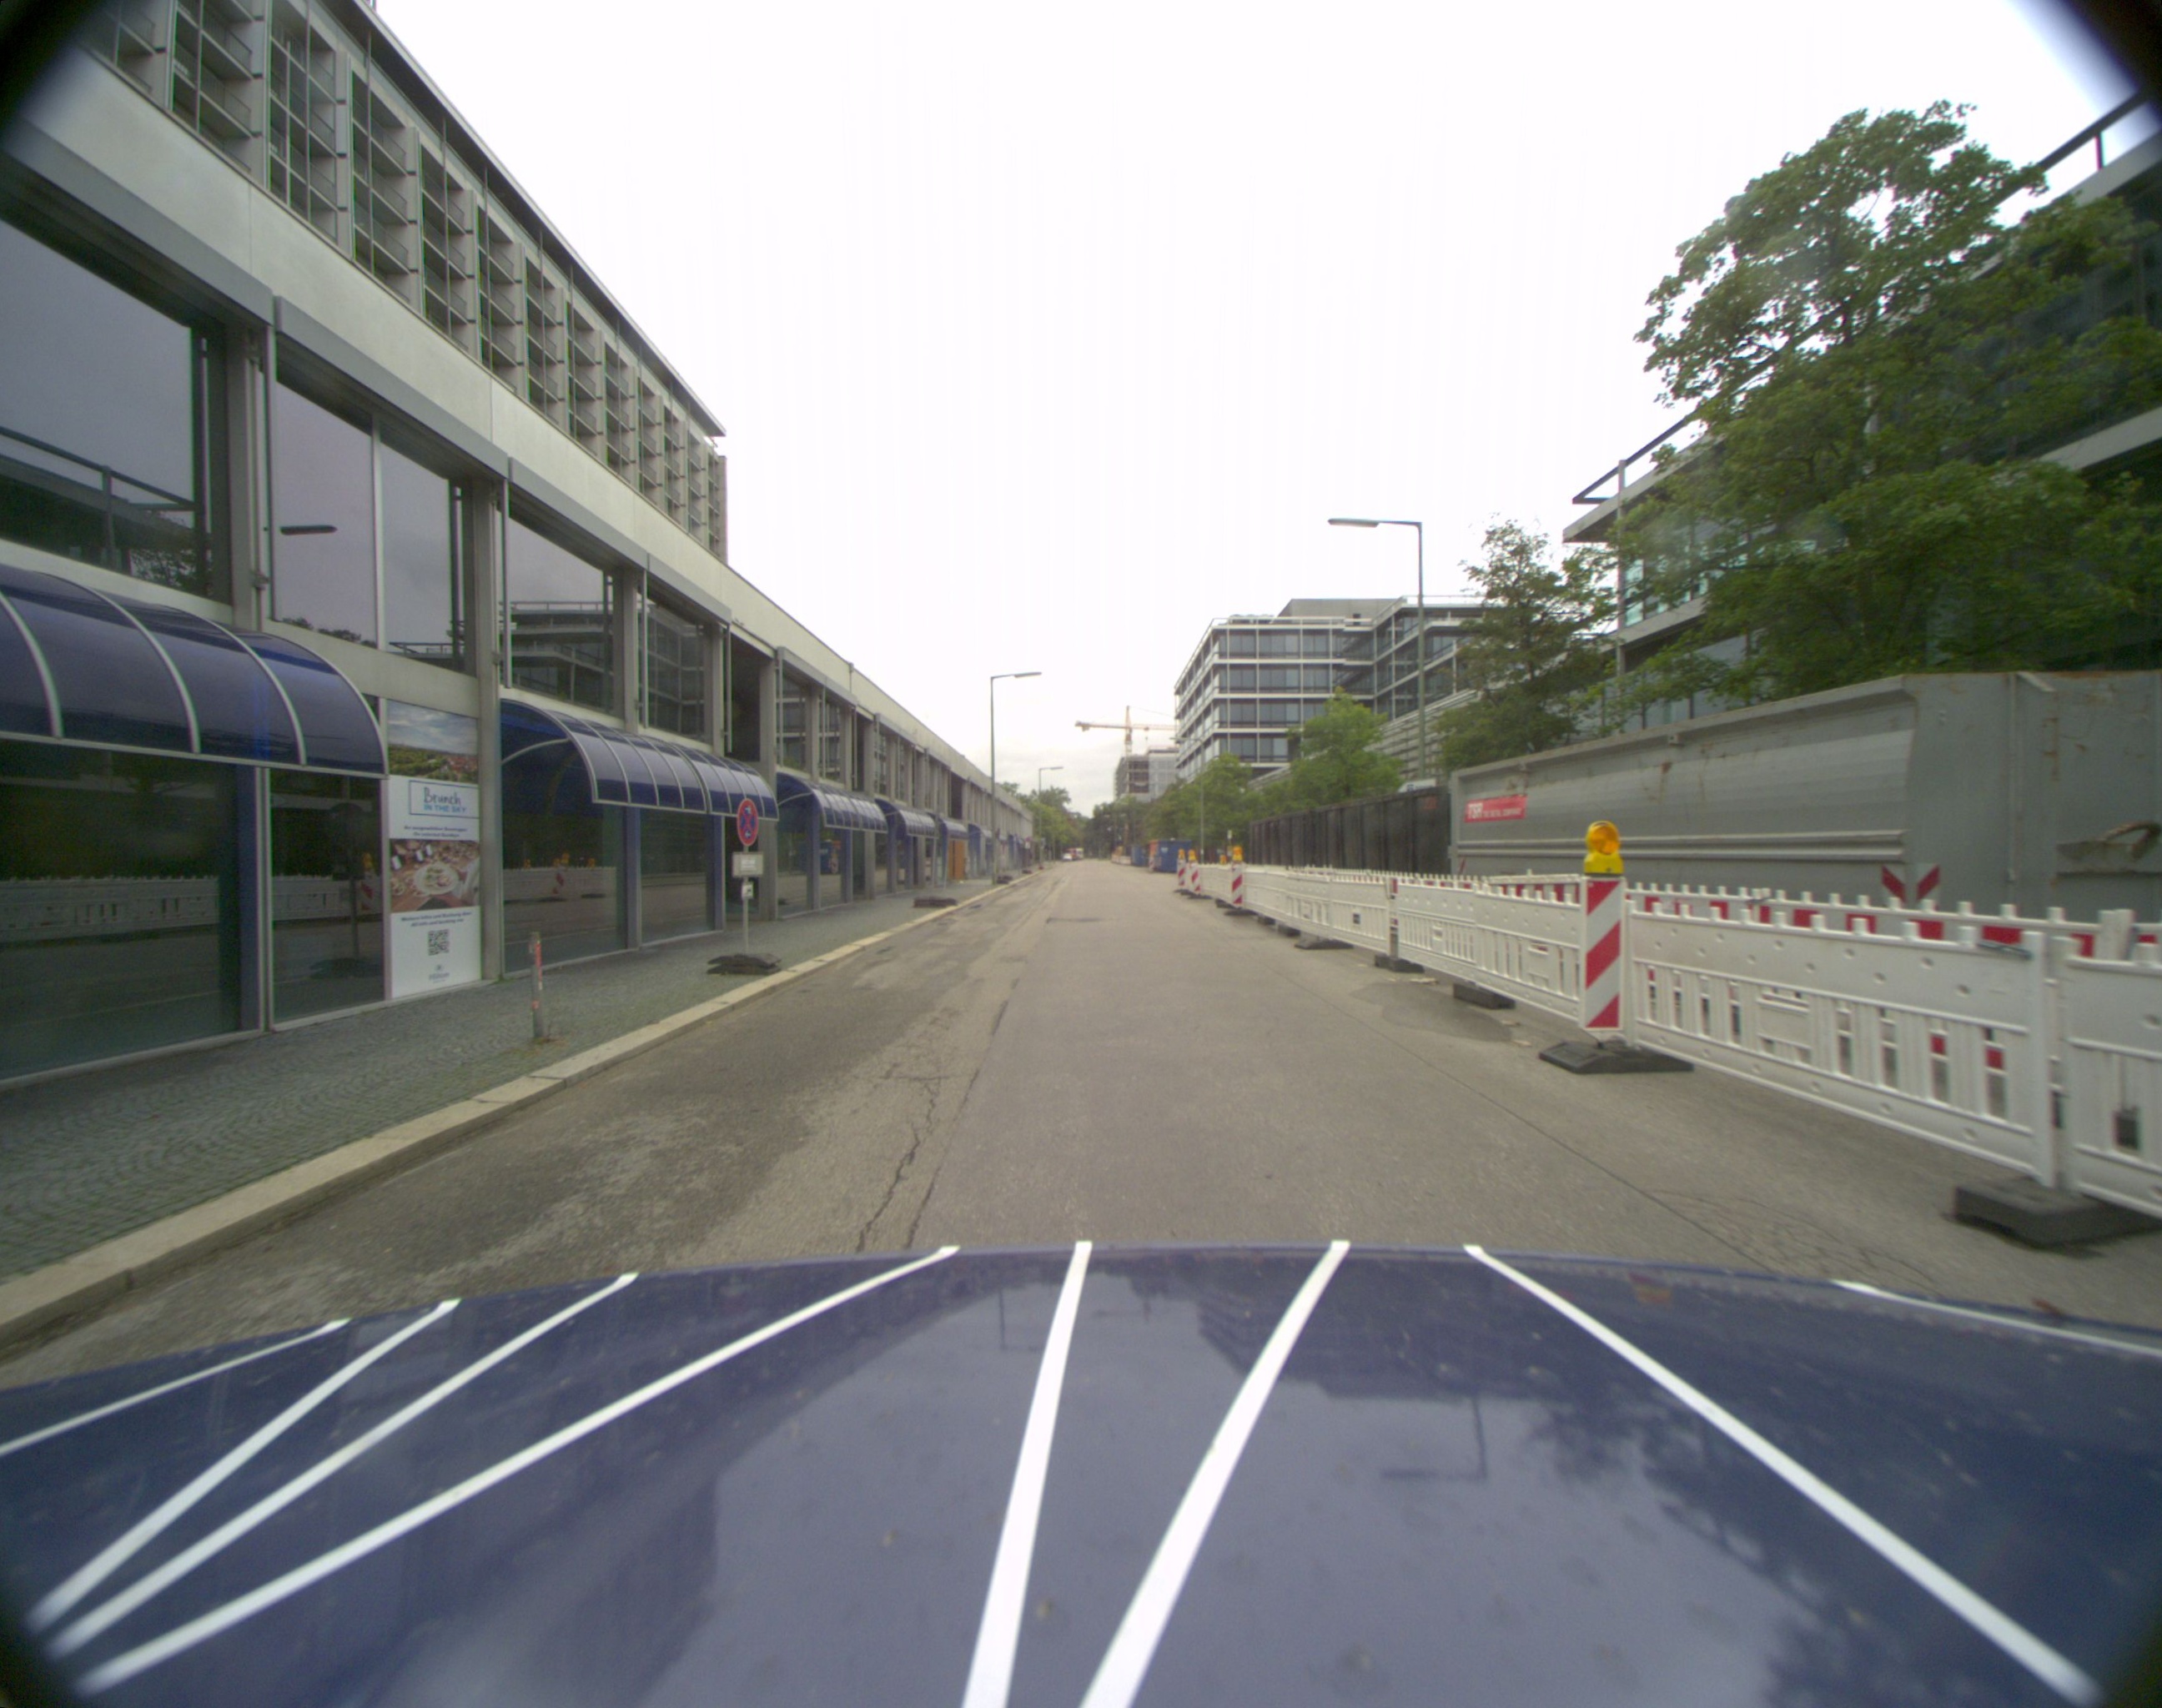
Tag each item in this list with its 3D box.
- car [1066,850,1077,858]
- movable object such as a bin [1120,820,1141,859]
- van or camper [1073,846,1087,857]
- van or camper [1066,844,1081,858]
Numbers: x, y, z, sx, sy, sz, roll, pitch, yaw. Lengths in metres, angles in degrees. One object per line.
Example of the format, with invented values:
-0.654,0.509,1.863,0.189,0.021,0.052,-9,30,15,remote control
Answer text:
-1.927,0.022,151.442,1.912,1.627,4.000,0,0,2,car
8.150,-2.375,125.385,3.241,6.286,8.337,0,1,3,movable object such as a bin
-0.195,-0.585,172.006,2.665,2.436,6.447,0,0,6,van or camper
-1.497,-0.593,157.709,2.666,2.751,6.916,0,0,4,van or camper
